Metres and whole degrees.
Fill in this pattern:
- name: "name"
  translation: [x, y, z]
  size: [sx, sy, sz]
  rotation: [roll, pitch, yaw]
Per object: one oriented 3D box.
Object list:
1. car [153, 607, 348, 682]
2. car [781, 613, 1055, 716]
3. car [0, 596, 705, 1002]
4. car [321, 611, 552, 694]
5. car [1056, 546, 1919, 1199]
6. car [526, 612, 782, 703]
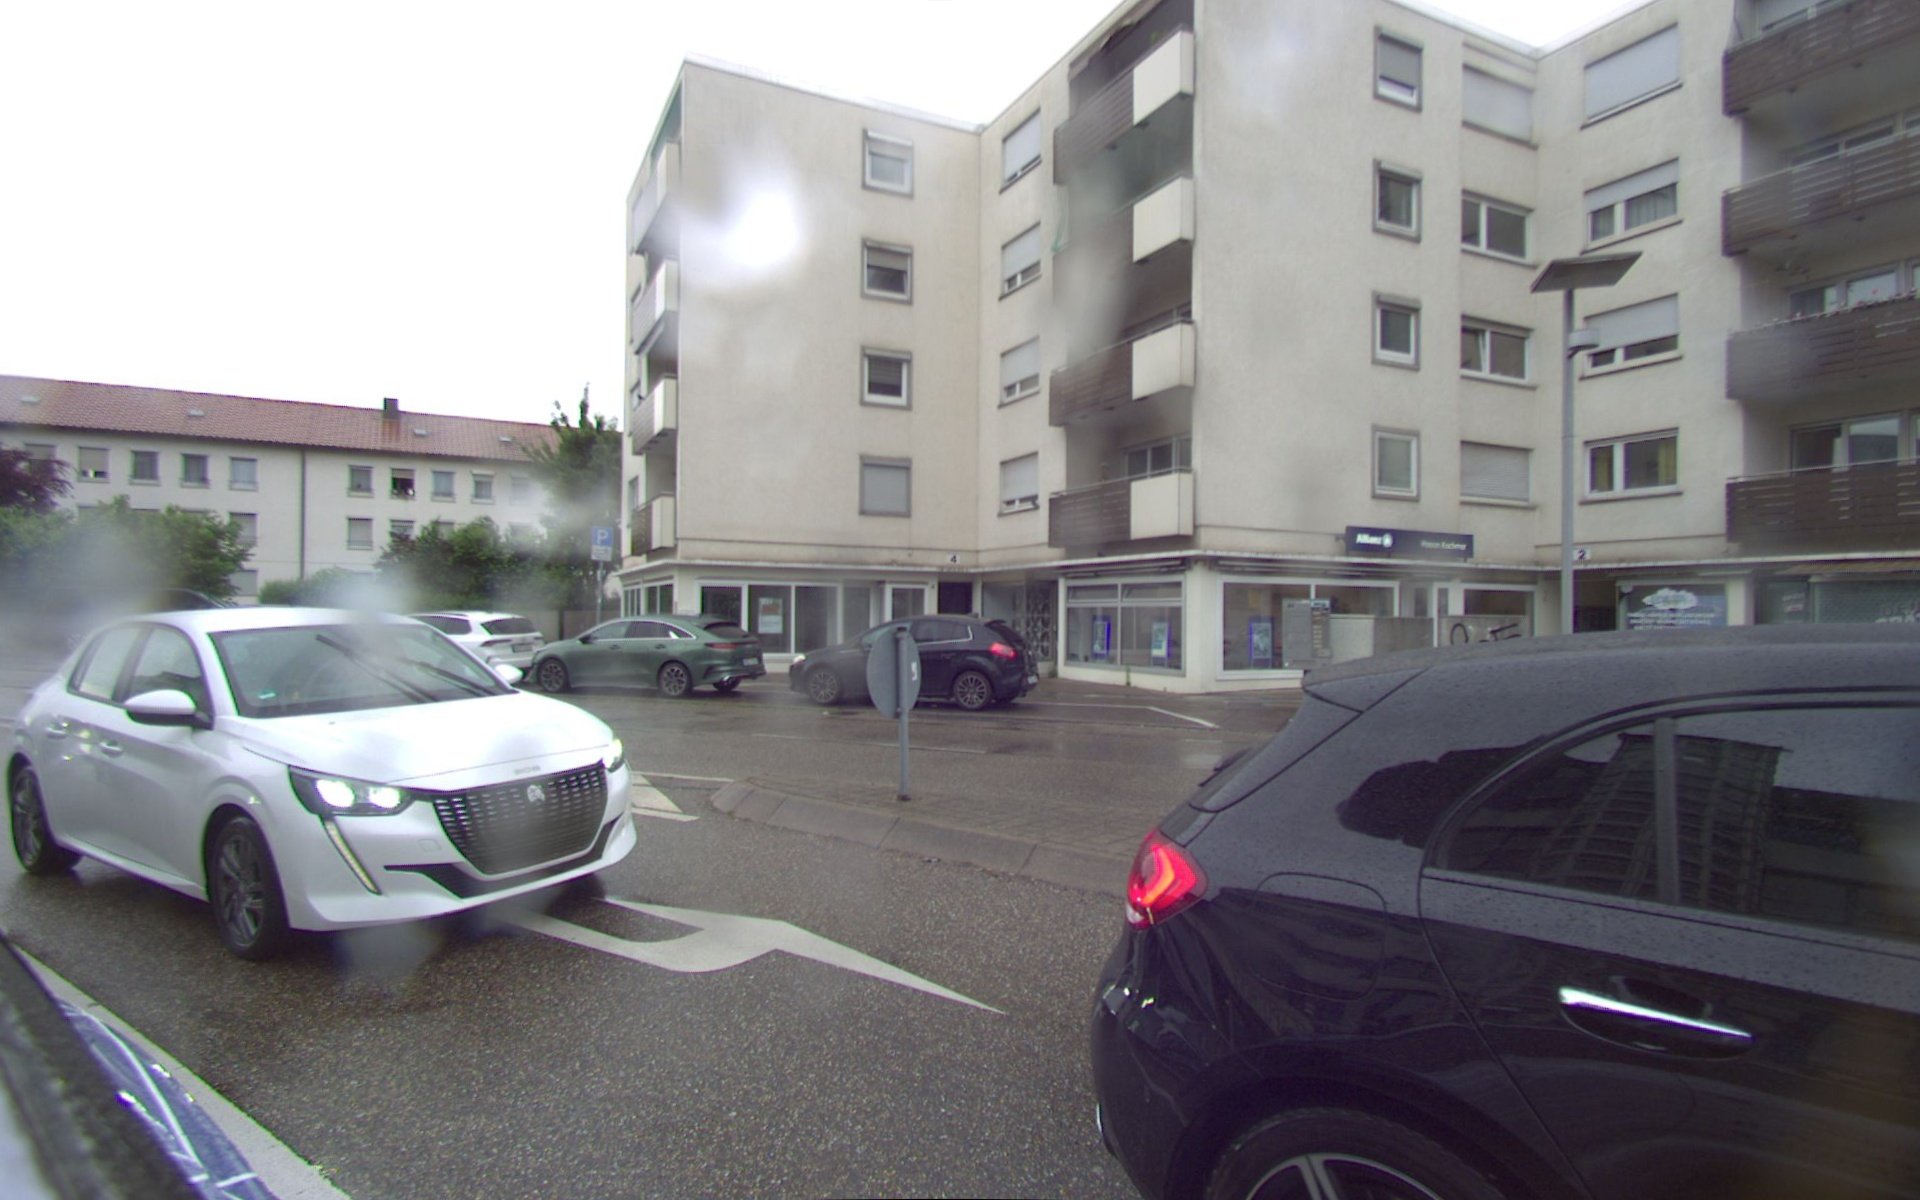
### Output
- name: "car"
  translation: [-15.689, 0.946, 22.392]
  size: [3.852, 1.517, 1.623]
  rotation: [0, -1, 20]
- name: "car"
  translation: [-0.671, 0.980, 16.650]
  size: [4.156, 1.471, 1.825]
  rotation: [0, 0, 20]
- name: "car"
  translation: [-3.375, 0.721, 5.339]
  size: [3.882, 1.420, 1.726]
  rotation: [-1, 0, 31]
- name: "car"
  translation: [-10.516, 1.003, 20.354]
  size: [4.313, 1.511, 1.627]
  rotation: [0, -1, 20]
- name: "car"
  translation: [2.285, 0.656, 1.236]
  size: [4.090, 1.492, 1.646]
  rotation: [-2, 0, 40]
- name: "car"
  translation: [-5.588, 0.986, 18.546]
  size: [4.241, 1.445, 1.826]
  rotation: [0, 0, 19]
